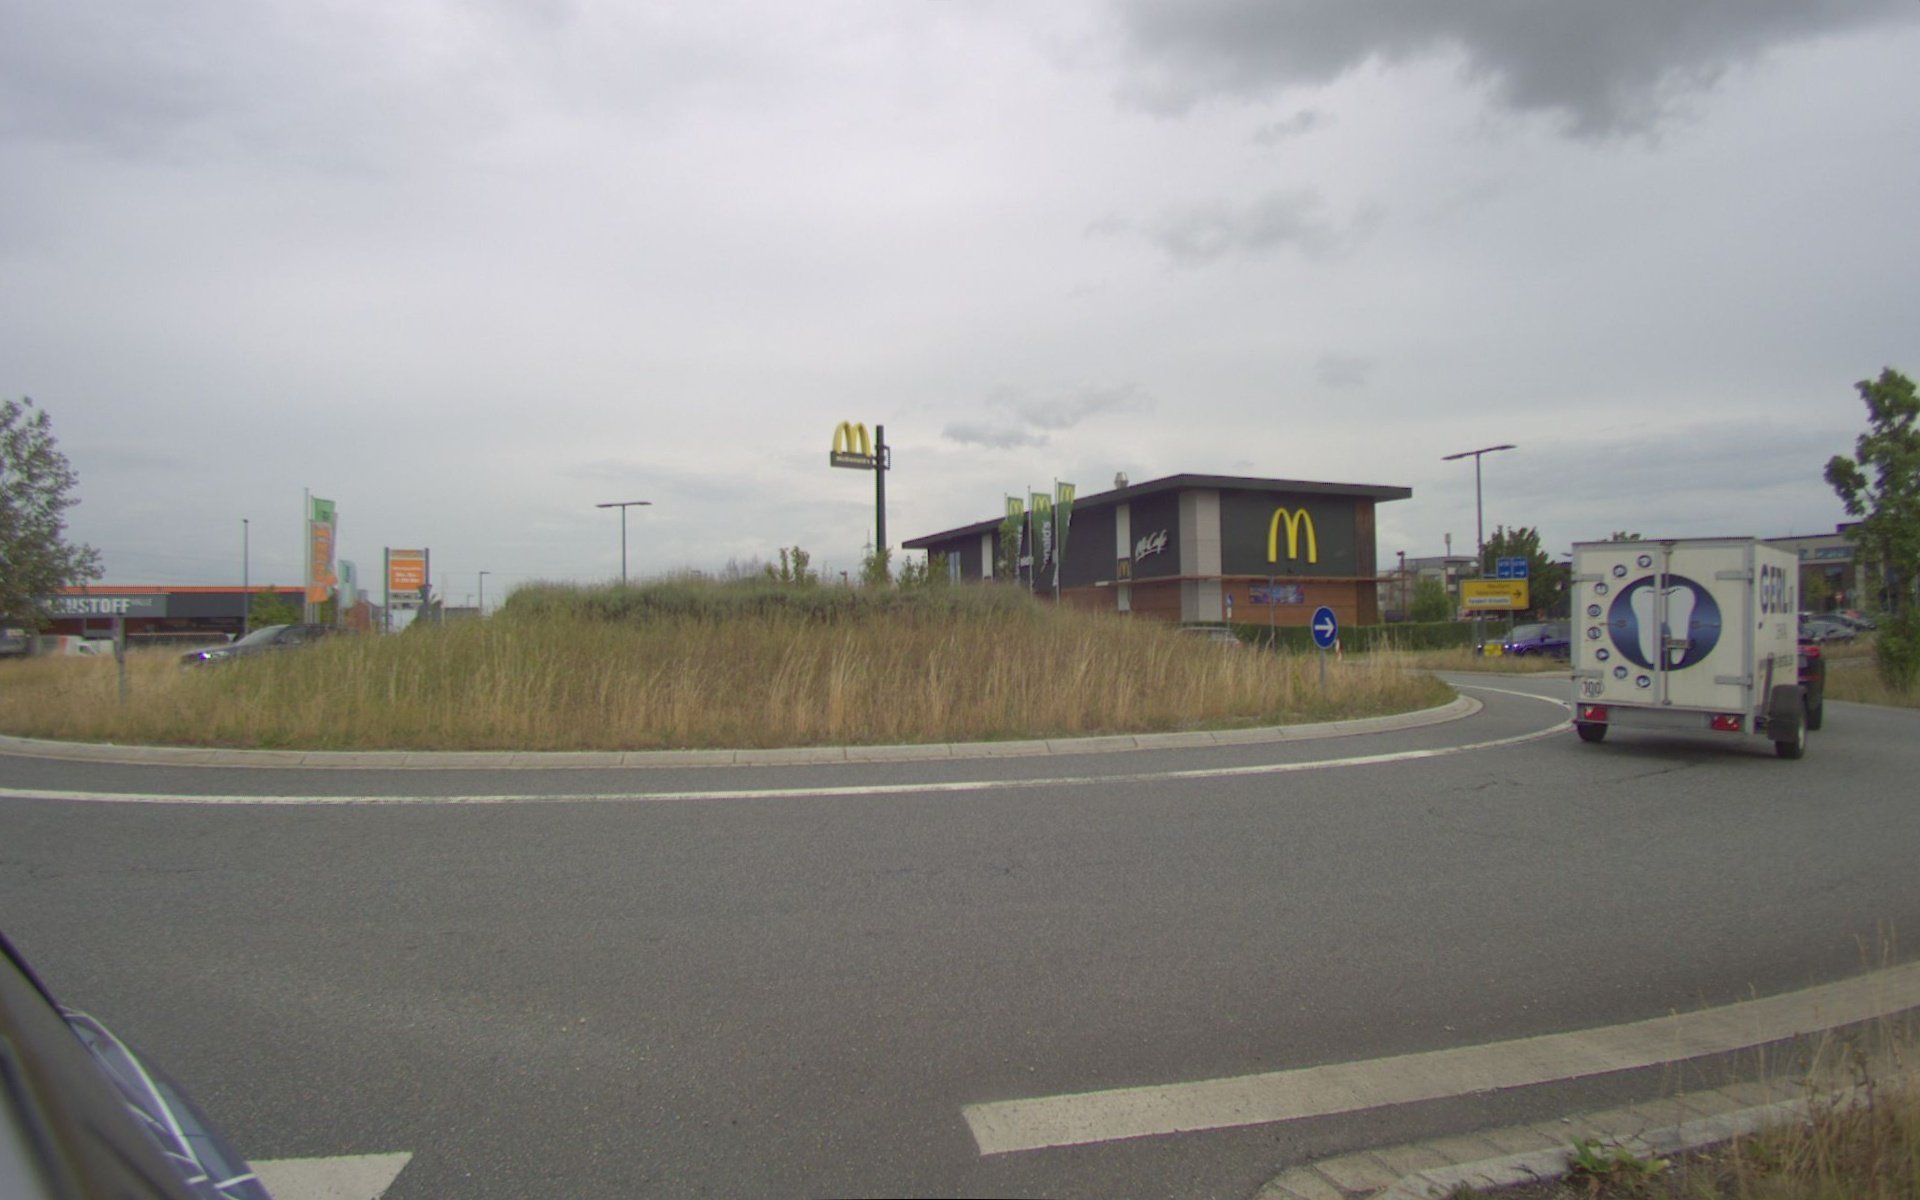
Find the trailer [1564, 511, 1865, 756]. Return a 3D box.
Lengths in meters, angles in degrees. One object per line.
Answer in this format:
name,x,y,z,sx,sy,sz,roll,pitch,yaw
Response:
trailer,8.117,0.345,10.753,4.082,2.107,1.814,2,-2,-43

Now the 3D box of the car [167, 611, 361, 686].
car,-19.043,1.287,27.849,1.838,1.732,3.955,-5,-1,33

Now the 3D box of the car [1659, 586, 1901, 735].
car,11.106,0.747,13.589,4.545,1.683,1.819,1,-3,-42

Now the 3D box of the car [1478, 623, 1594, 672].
car,21.900,1.773,38.496,3.949,1.671,1.903,-1,-1,-26

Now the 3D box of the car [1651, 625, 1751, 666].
car,31.286,1.891,42.722,3.771,1.576,1.842,-1,-1,-26
